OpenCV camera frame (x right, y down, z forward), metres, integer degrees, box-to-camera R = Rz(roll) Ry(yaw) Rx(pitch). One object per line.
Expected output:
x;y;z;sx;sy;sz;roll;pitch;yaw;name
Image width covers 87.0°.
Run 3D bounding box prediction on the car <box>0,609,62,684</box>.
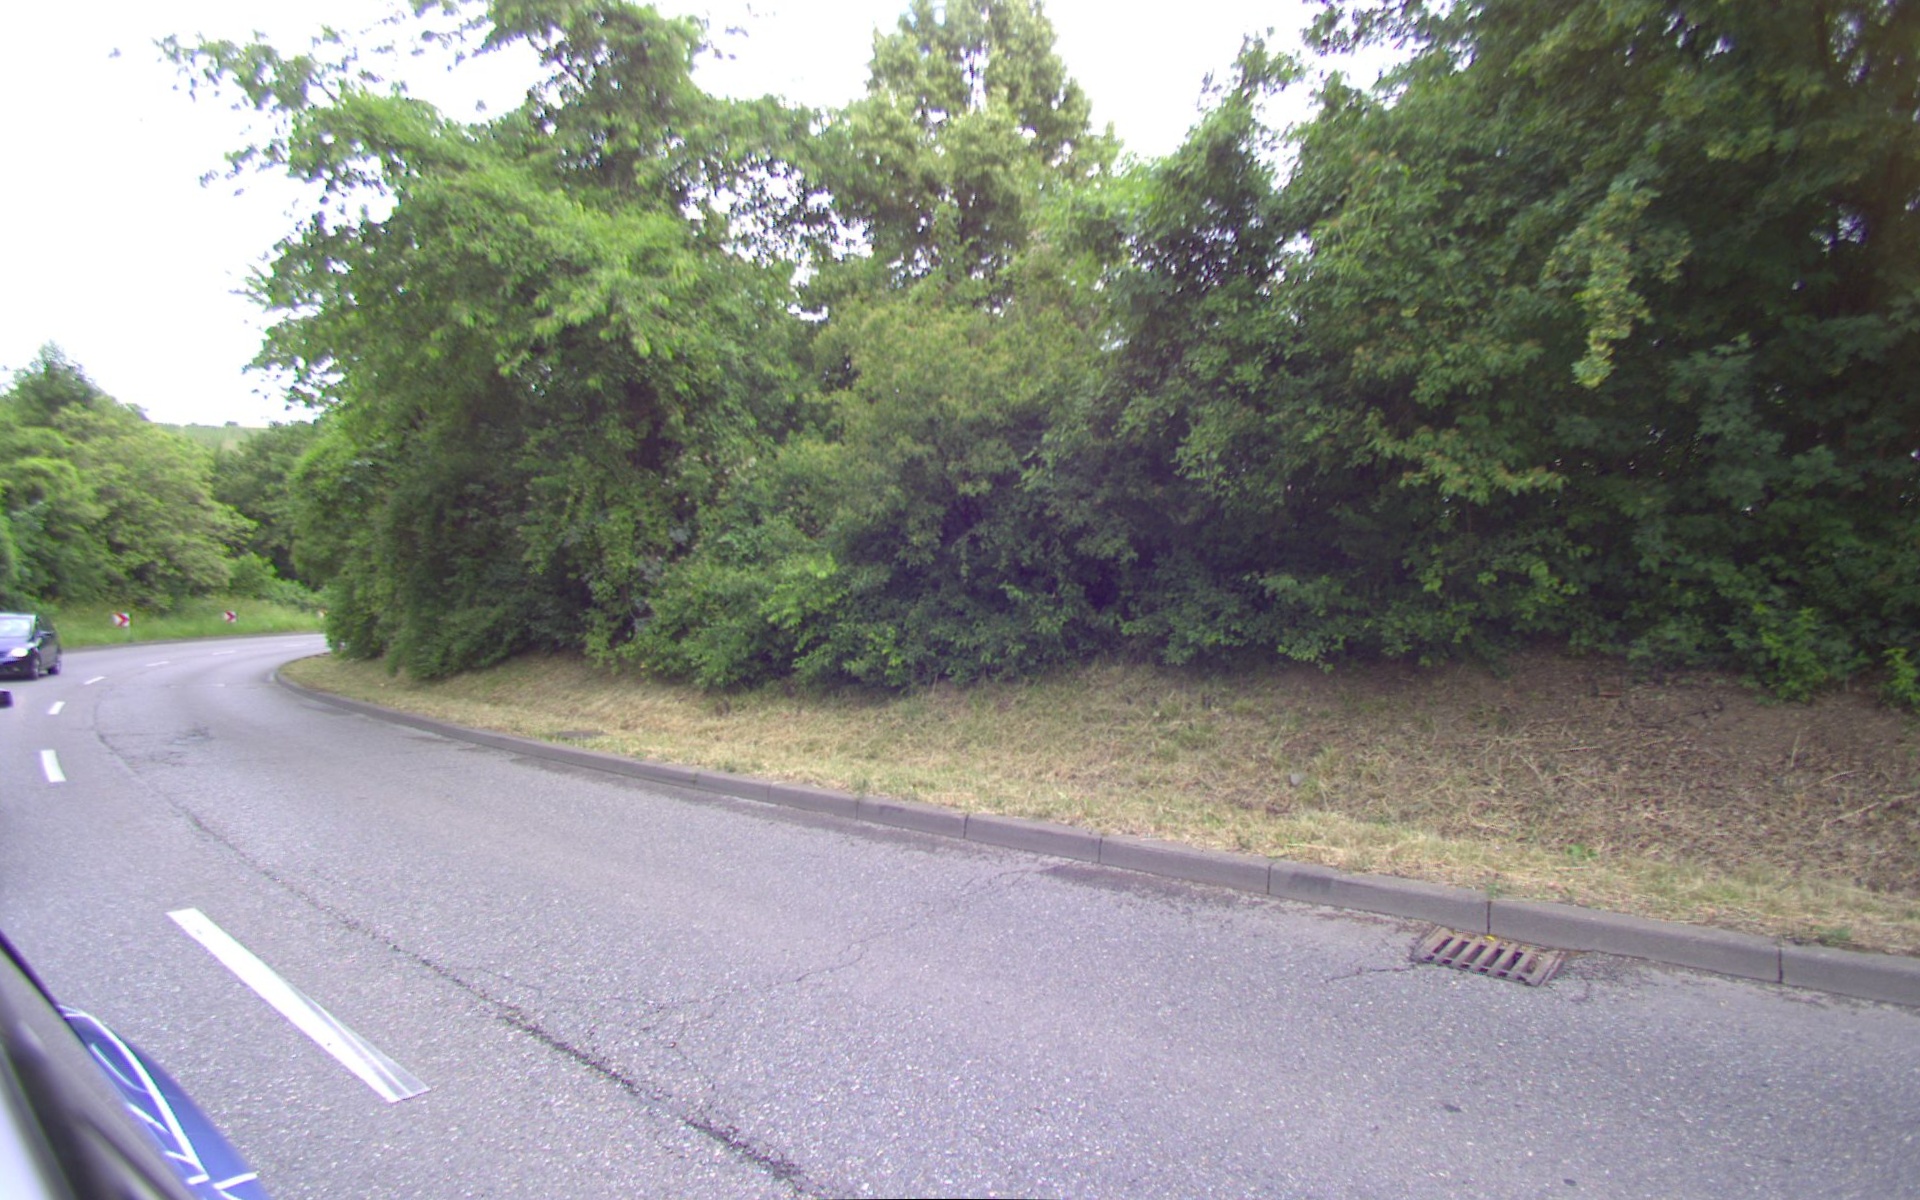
-22.796;1.059;24.036;1.528;1.657;3.750;3;-2;-32;car
